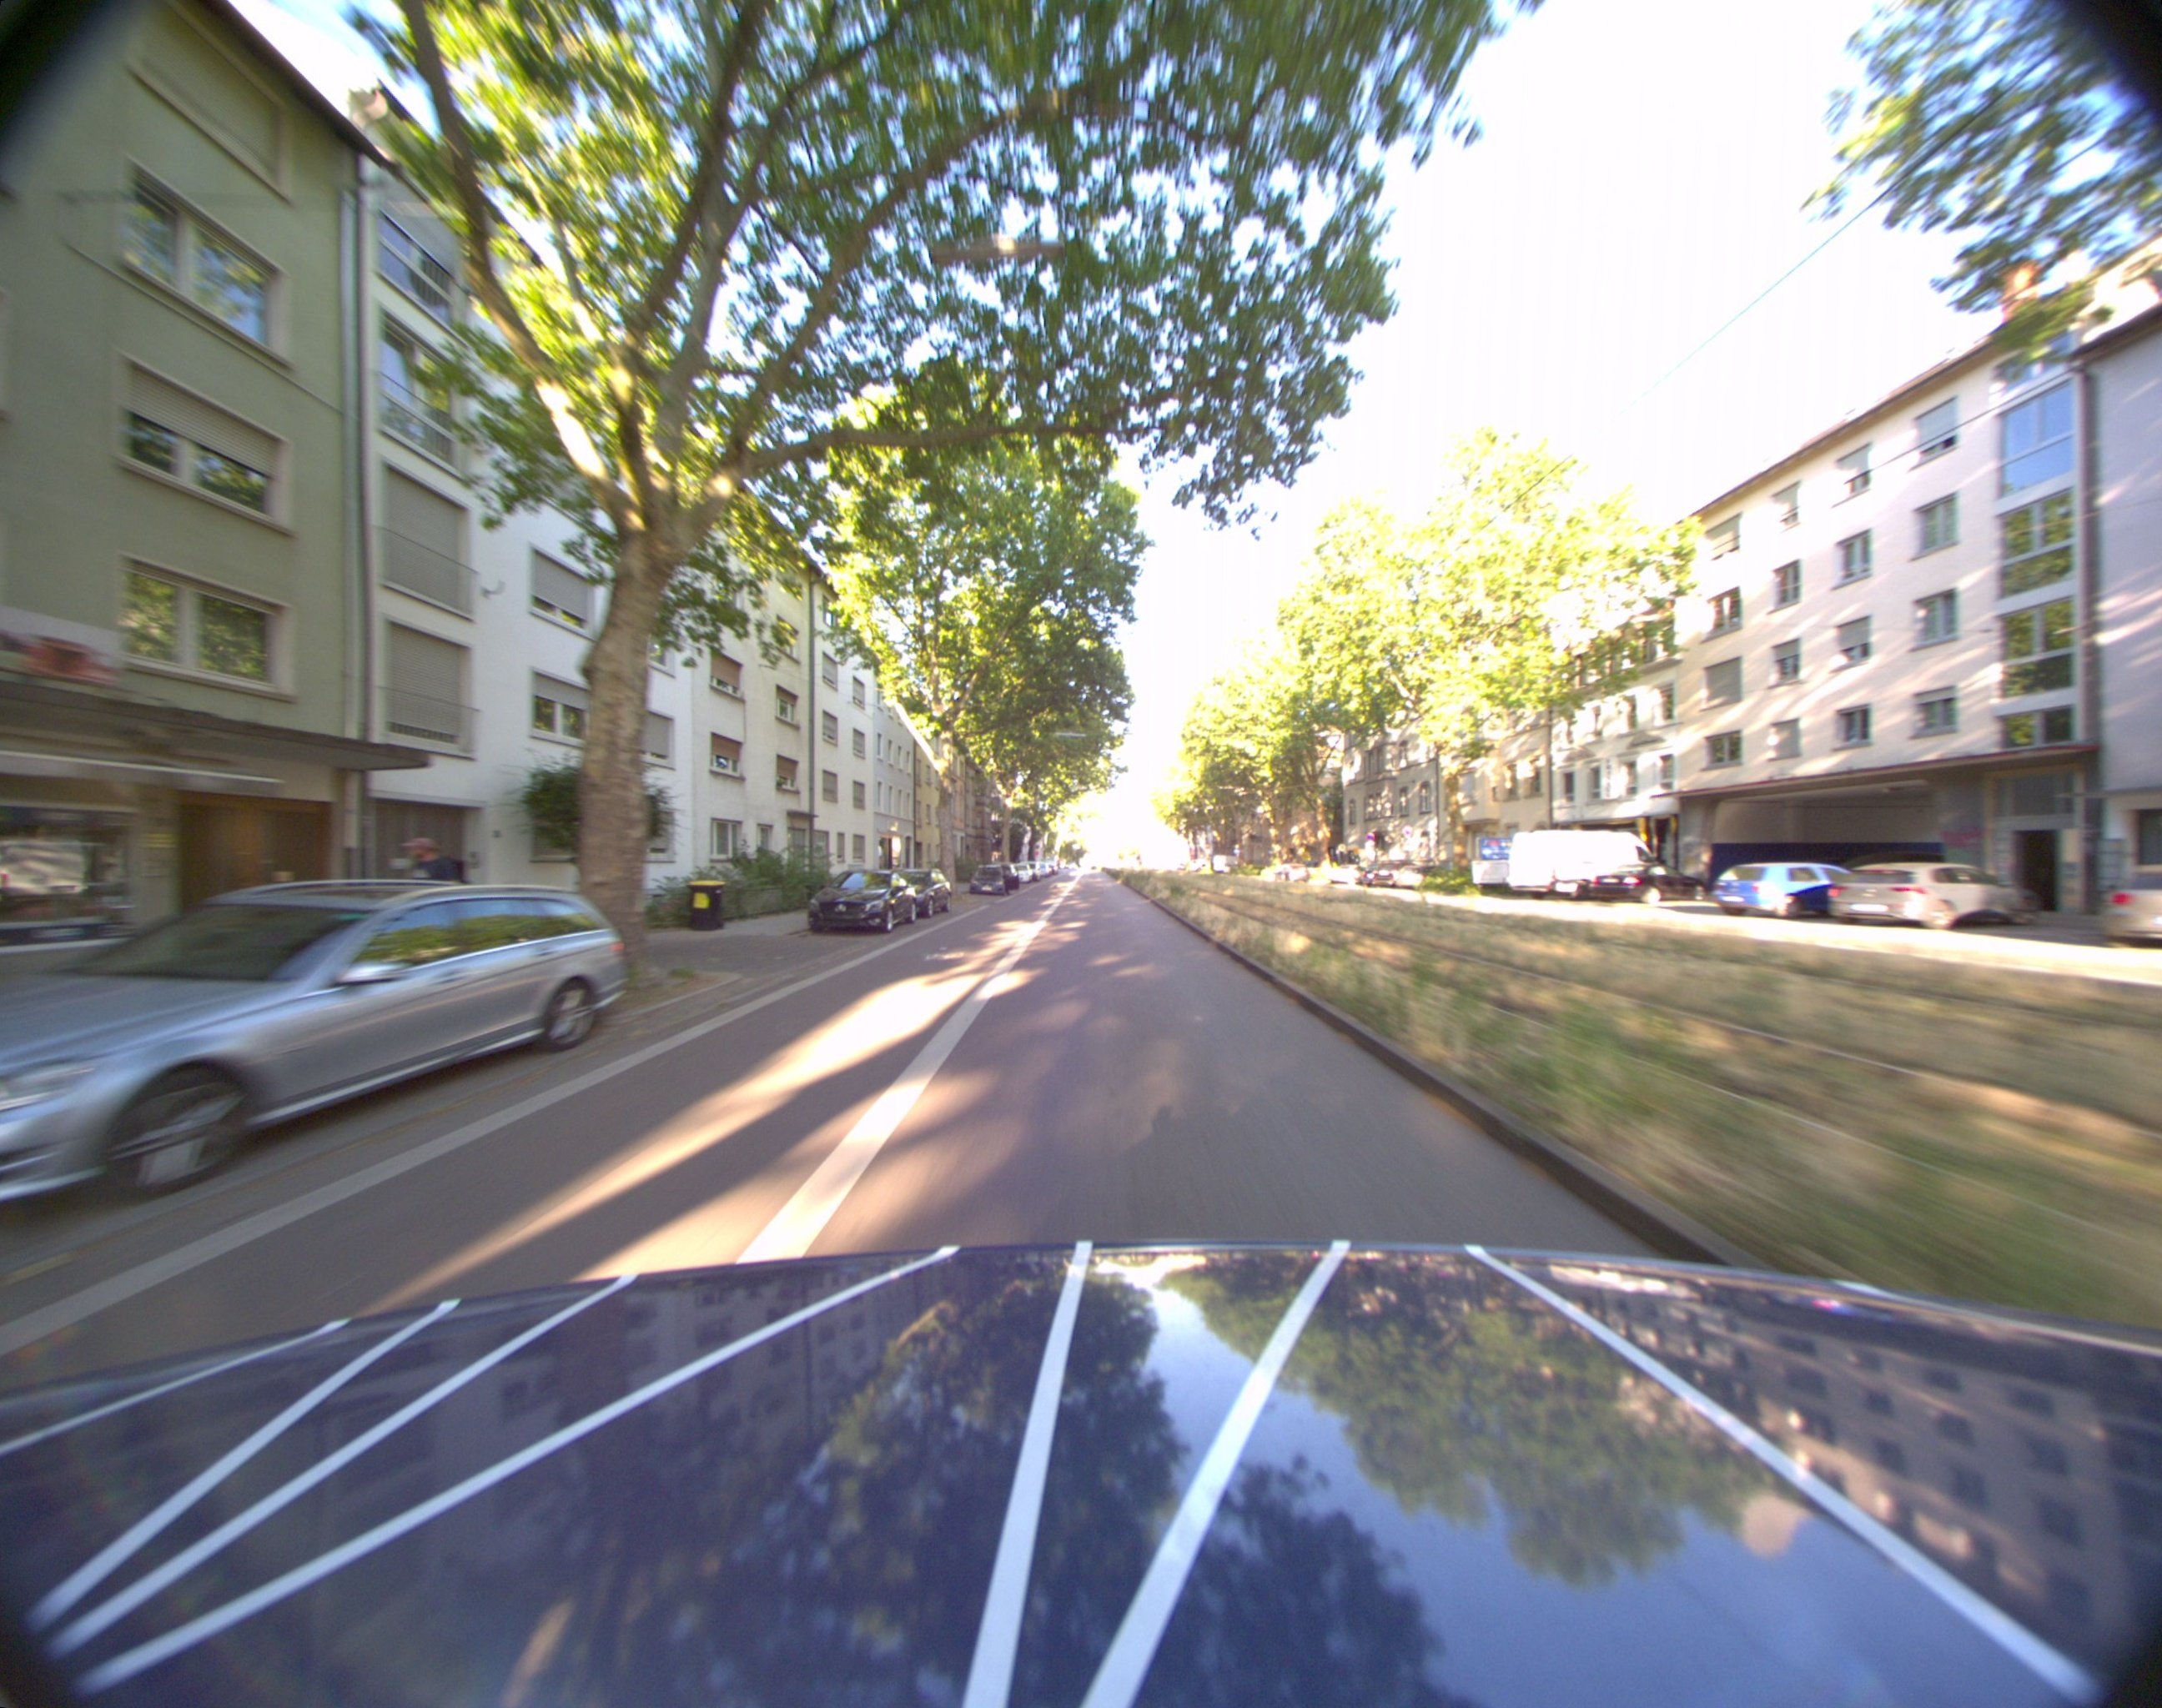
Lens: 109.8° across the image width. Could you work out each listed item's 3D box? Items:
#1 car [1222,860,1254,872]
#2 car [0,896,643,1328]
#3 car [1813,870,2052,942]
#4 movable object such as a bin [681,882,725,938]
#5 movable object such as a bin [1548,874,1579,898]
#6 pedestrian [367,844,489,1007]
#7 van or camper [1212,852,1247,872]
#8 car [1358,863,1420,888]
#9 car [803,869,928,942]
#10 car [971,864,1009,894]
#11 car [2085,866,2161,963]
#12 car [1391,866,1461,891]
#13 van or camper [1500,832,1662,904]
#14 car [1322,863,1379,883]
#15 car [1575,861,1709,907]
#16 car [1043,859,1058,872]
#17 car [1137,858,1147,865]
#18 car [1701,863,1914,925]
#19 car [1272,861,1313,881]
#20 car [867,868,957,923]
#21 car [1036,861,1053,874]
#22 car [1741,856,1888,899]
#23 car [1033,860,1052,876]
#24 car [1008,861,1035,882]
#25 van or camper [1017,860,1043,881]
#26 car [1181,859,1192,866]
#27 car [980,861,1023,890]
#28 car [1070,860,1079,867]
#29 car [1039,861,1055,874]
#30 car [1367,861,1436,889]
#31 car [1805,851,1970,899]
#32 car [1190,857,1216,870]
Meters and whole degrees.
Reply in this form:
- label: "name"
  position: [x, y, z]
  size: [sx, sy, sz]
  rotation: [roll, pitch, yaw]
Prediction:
- label: "car"
  position: [20.578, 1.582, 99.547]
  size: [4.006, 1.240, 1.726]
  rotation: [-3, 1, -33]
- label: "car"
  position: [-5.244, 1.176, 5.216]
  size: [1.699, 1.533, 4.777]
  rotation: [0, 0, 0]
- label: "car"
  position: [19.439, 1.125, 17.427]
  size: [4.001, 1.483, 1.949]
  rotation: [0, 0, -13]
- label: "movable object such as a bin"
  position: [-8.093, 1.189, 16.271]
  size: [0.617, 1.152, 0.666]
  rotation: [0, 0, -2]
- label: "movable object such as a bin"
  position: [20.744, 1.368, 32.685]
  size: [0.741, 1.016, 0.868]
  rotation: [0, 0, -12]
- label: "pedestrian"
  position: [-8.392, 0.880, 9.810]
  size: [0.684, 2.002, 1.012]
  rotation: [0, 0, 0]
- label: "van or camper"
  position: [20.008, 1.035, 102.084]
  size: [4.371, 2.386, 2.196]
  rotation: [-3, 1, -39]
- label: "car"
  position: [20.004, 1.402, 49.272]
  size: [4.008, 1.524, 1.821]
  rotation: [2, -1, -35]
- label: "car"
  position: [-5.036, 1.145, 18.416]
  size: [1.713, 1.407, 4.364]
  rotation: [2, 0, 1]
- label: "car"
  position: [-4.662, 1.250, 39.227]
  size: [1.748, 1.455, 4.025]
  rotation: [0, 0, -4]
- label: "car"
  position: [19.263, 0.997, 13.299]
  size: [4.006, 1.414, 1.752]
  rotation: [-2, 0, -33]
- label: "car"
  position: [19.375, 1.357, 42.613]
  size: [4.014, 1.349, 1.797]
  rotation: [1, -1, -36]
- label: "van or camper"
  position: [19.659, 0.528, 29.879]
  size: [5.973, 2.630, 2.175]
  rotation: [0, 0, -20]
- label: "car"
  position: [19.067, 1.324, 53.792]
  size: [3.687, 1.381, 1.822]
  rotation: [0, 0, -30]
- label: "car"
  position: [20.132, 1.039, 27.281]
  size: [4.004, 1.482, 1.997]
  rotation: [-1, 0, -21]
- label: "car"
  position: [-3.991, 1.519, 99.837]
  size: [1.791, 1.585, 4.014]
  rotation: [1, 0, -1]
- label: "car"
  position: [14.510, 1.768, 180.572]
  size: [1.999, 1.477, 3.999]
  rotation: [-2, 0, -2]
- label: "car"
  position: [19.282, 1.029, 20.284]
  size: [3.998, 1.412, 1.857]
  rotation: [-2, 0, -3]
- label: "car"
  position: [15.963, 1.260, 57.448]
  size: [1.825, 1.381, 4.484]
  rotation: [2, 0, 0]
- label: "car"
  position: [-5.042, 1.192, 23.308]
  size: [1.713, 1.407, 4.364]
  rotation: [2, 0, 1]
- label: "car"
  position: [-4.177, 1.562, 87.778]
  size: [1.790, 1.458, 3.570]
  rotation: [1, 0, 1]
- label: "car"
  position: [29.390, 0.924, 30.538]
  size: [3.997, 1.533, 2.000]
  rotation: [-2, 0, -1]
- label: "car"
  position: [-4.162, 1.518, 82.472]
  size: [1.790, 1.609, 3.829]
  rotation: [1, 0, 1]
- label: "car"
  position: [-4.602, 1.340, 59.151]
  size: [1.702, 1.517, 4.195]
  rotation: [0, 0, 1]
- label: "van or camper"
  position: [-4.365, 1.362, 65.447]
  size: [1.790, 1.710, 4.380]
  rotation: [1, 0, 2]
- label: "car"
  position: [24.214, 1.975, 174.729]
  size: [1.998, 1.412, 4.001]
  rotation: [-2, 0, 3]
- label: "car"
  position: [-4.753, 1.254, 46.007]
  size: [1.998, 1.557, 4.664]
  rotation: [2, 0, 1]
- label: "car"
  position: [-1.524, 2.333, 186.643]
  size: [1.893, 1.501, 4.000]
  rotation: [-2, 0, 2]
- label: "car"
  position: [-4.124, 1.644, 92.546]
  size: [1.790, 1.458, 3.570]
  rotation: [1, 0, 1]
- label: "car"
  position: [19.375, 1.286, 45.902]
  size: [4.169, 1.583, 1.932]
  rotation: [2, -1, -36]
- label: "car"
  position: [29.412, 0.737, 27.798]
  size: [3.997, 1.710, 1.906]
  rotation: [0, 0, 0]
- label: "car"
  position: [20.410, 1.587, 127.123]
  size: [4.007, 2.002, 1.995]
  rotation: [-2, 0, -41]
